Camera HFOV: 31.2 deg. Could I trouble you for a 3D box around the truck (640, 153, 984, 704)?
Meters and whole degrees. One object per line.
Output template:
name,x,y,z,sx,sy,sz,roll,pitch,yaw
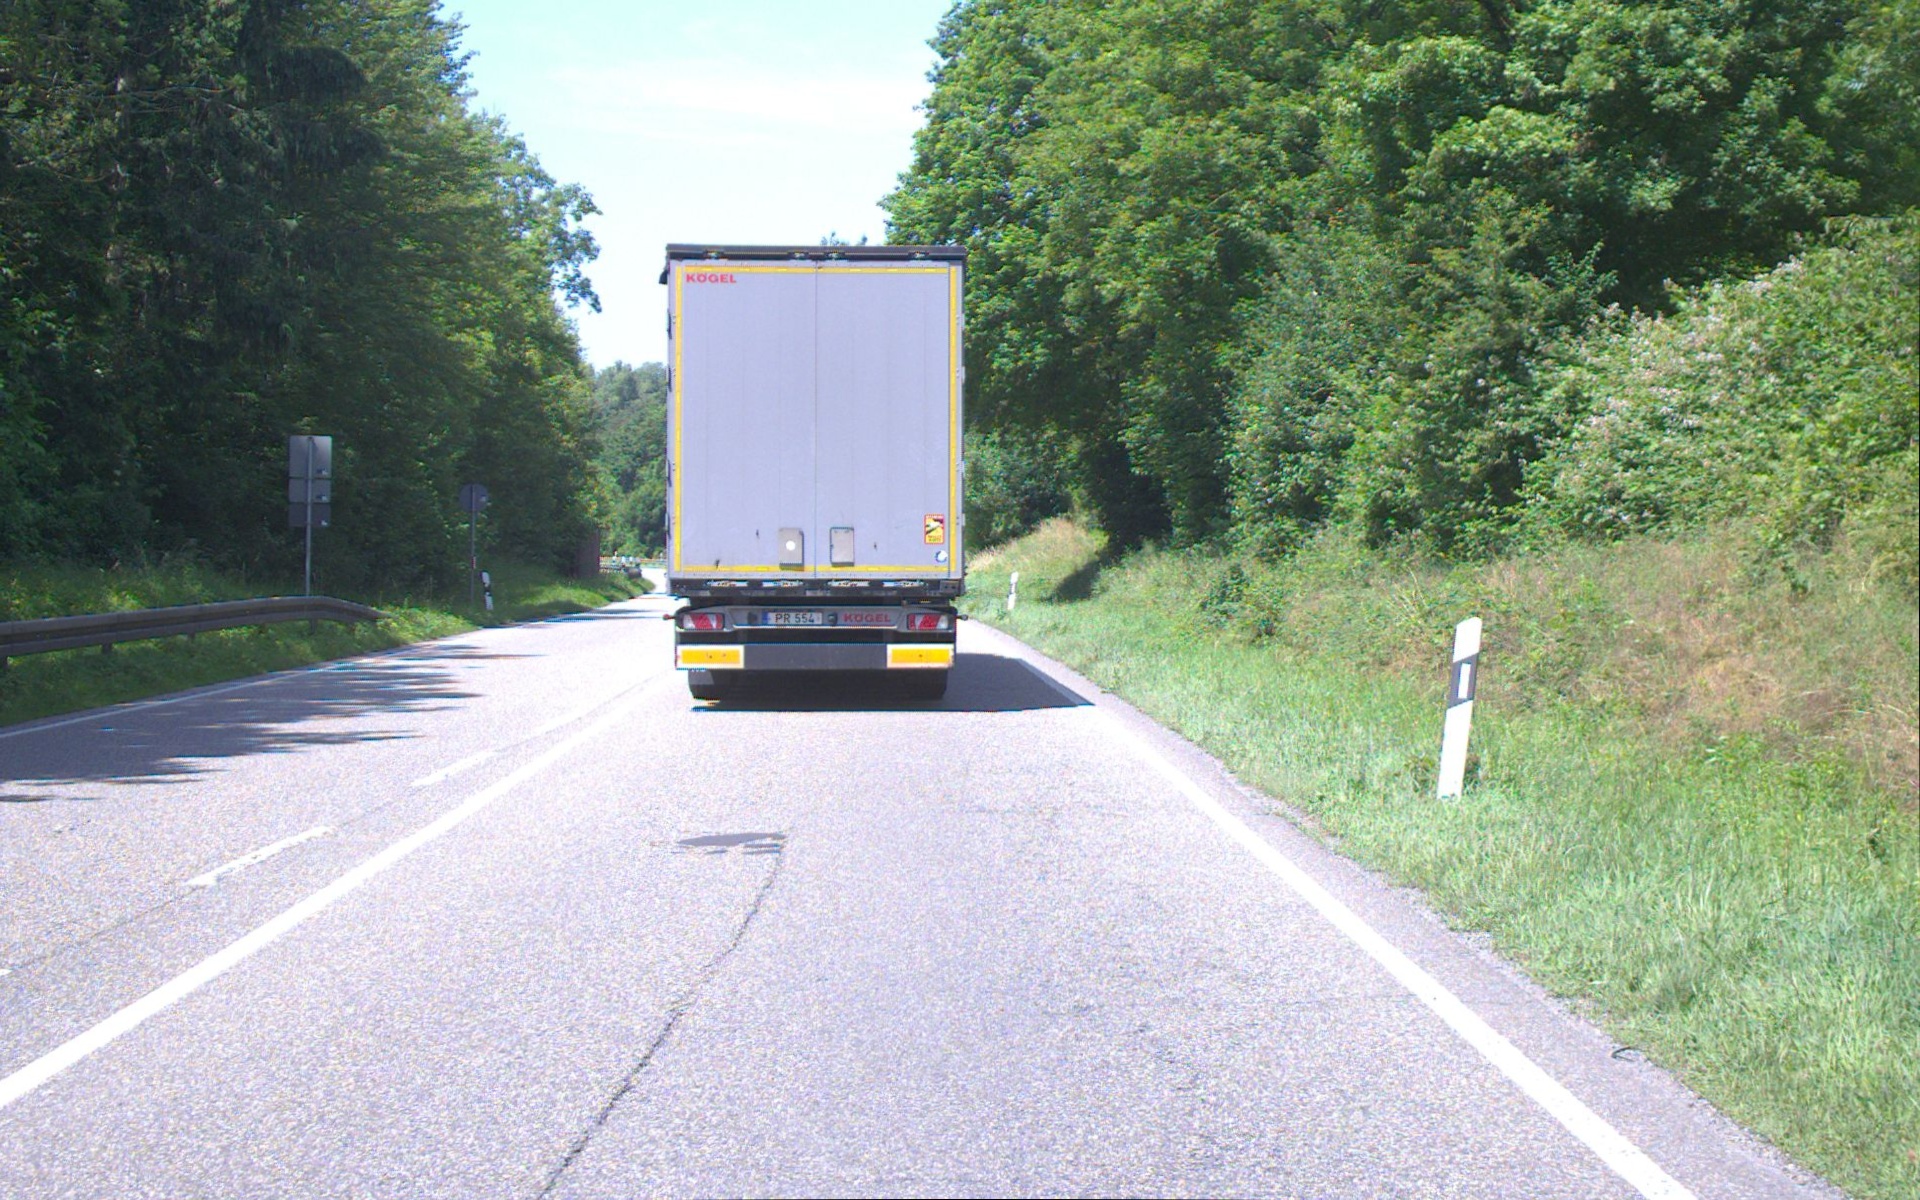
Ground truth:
truck,-1.276,-1.484,32.212,2.822,4.588,6.665,1,1,-1
